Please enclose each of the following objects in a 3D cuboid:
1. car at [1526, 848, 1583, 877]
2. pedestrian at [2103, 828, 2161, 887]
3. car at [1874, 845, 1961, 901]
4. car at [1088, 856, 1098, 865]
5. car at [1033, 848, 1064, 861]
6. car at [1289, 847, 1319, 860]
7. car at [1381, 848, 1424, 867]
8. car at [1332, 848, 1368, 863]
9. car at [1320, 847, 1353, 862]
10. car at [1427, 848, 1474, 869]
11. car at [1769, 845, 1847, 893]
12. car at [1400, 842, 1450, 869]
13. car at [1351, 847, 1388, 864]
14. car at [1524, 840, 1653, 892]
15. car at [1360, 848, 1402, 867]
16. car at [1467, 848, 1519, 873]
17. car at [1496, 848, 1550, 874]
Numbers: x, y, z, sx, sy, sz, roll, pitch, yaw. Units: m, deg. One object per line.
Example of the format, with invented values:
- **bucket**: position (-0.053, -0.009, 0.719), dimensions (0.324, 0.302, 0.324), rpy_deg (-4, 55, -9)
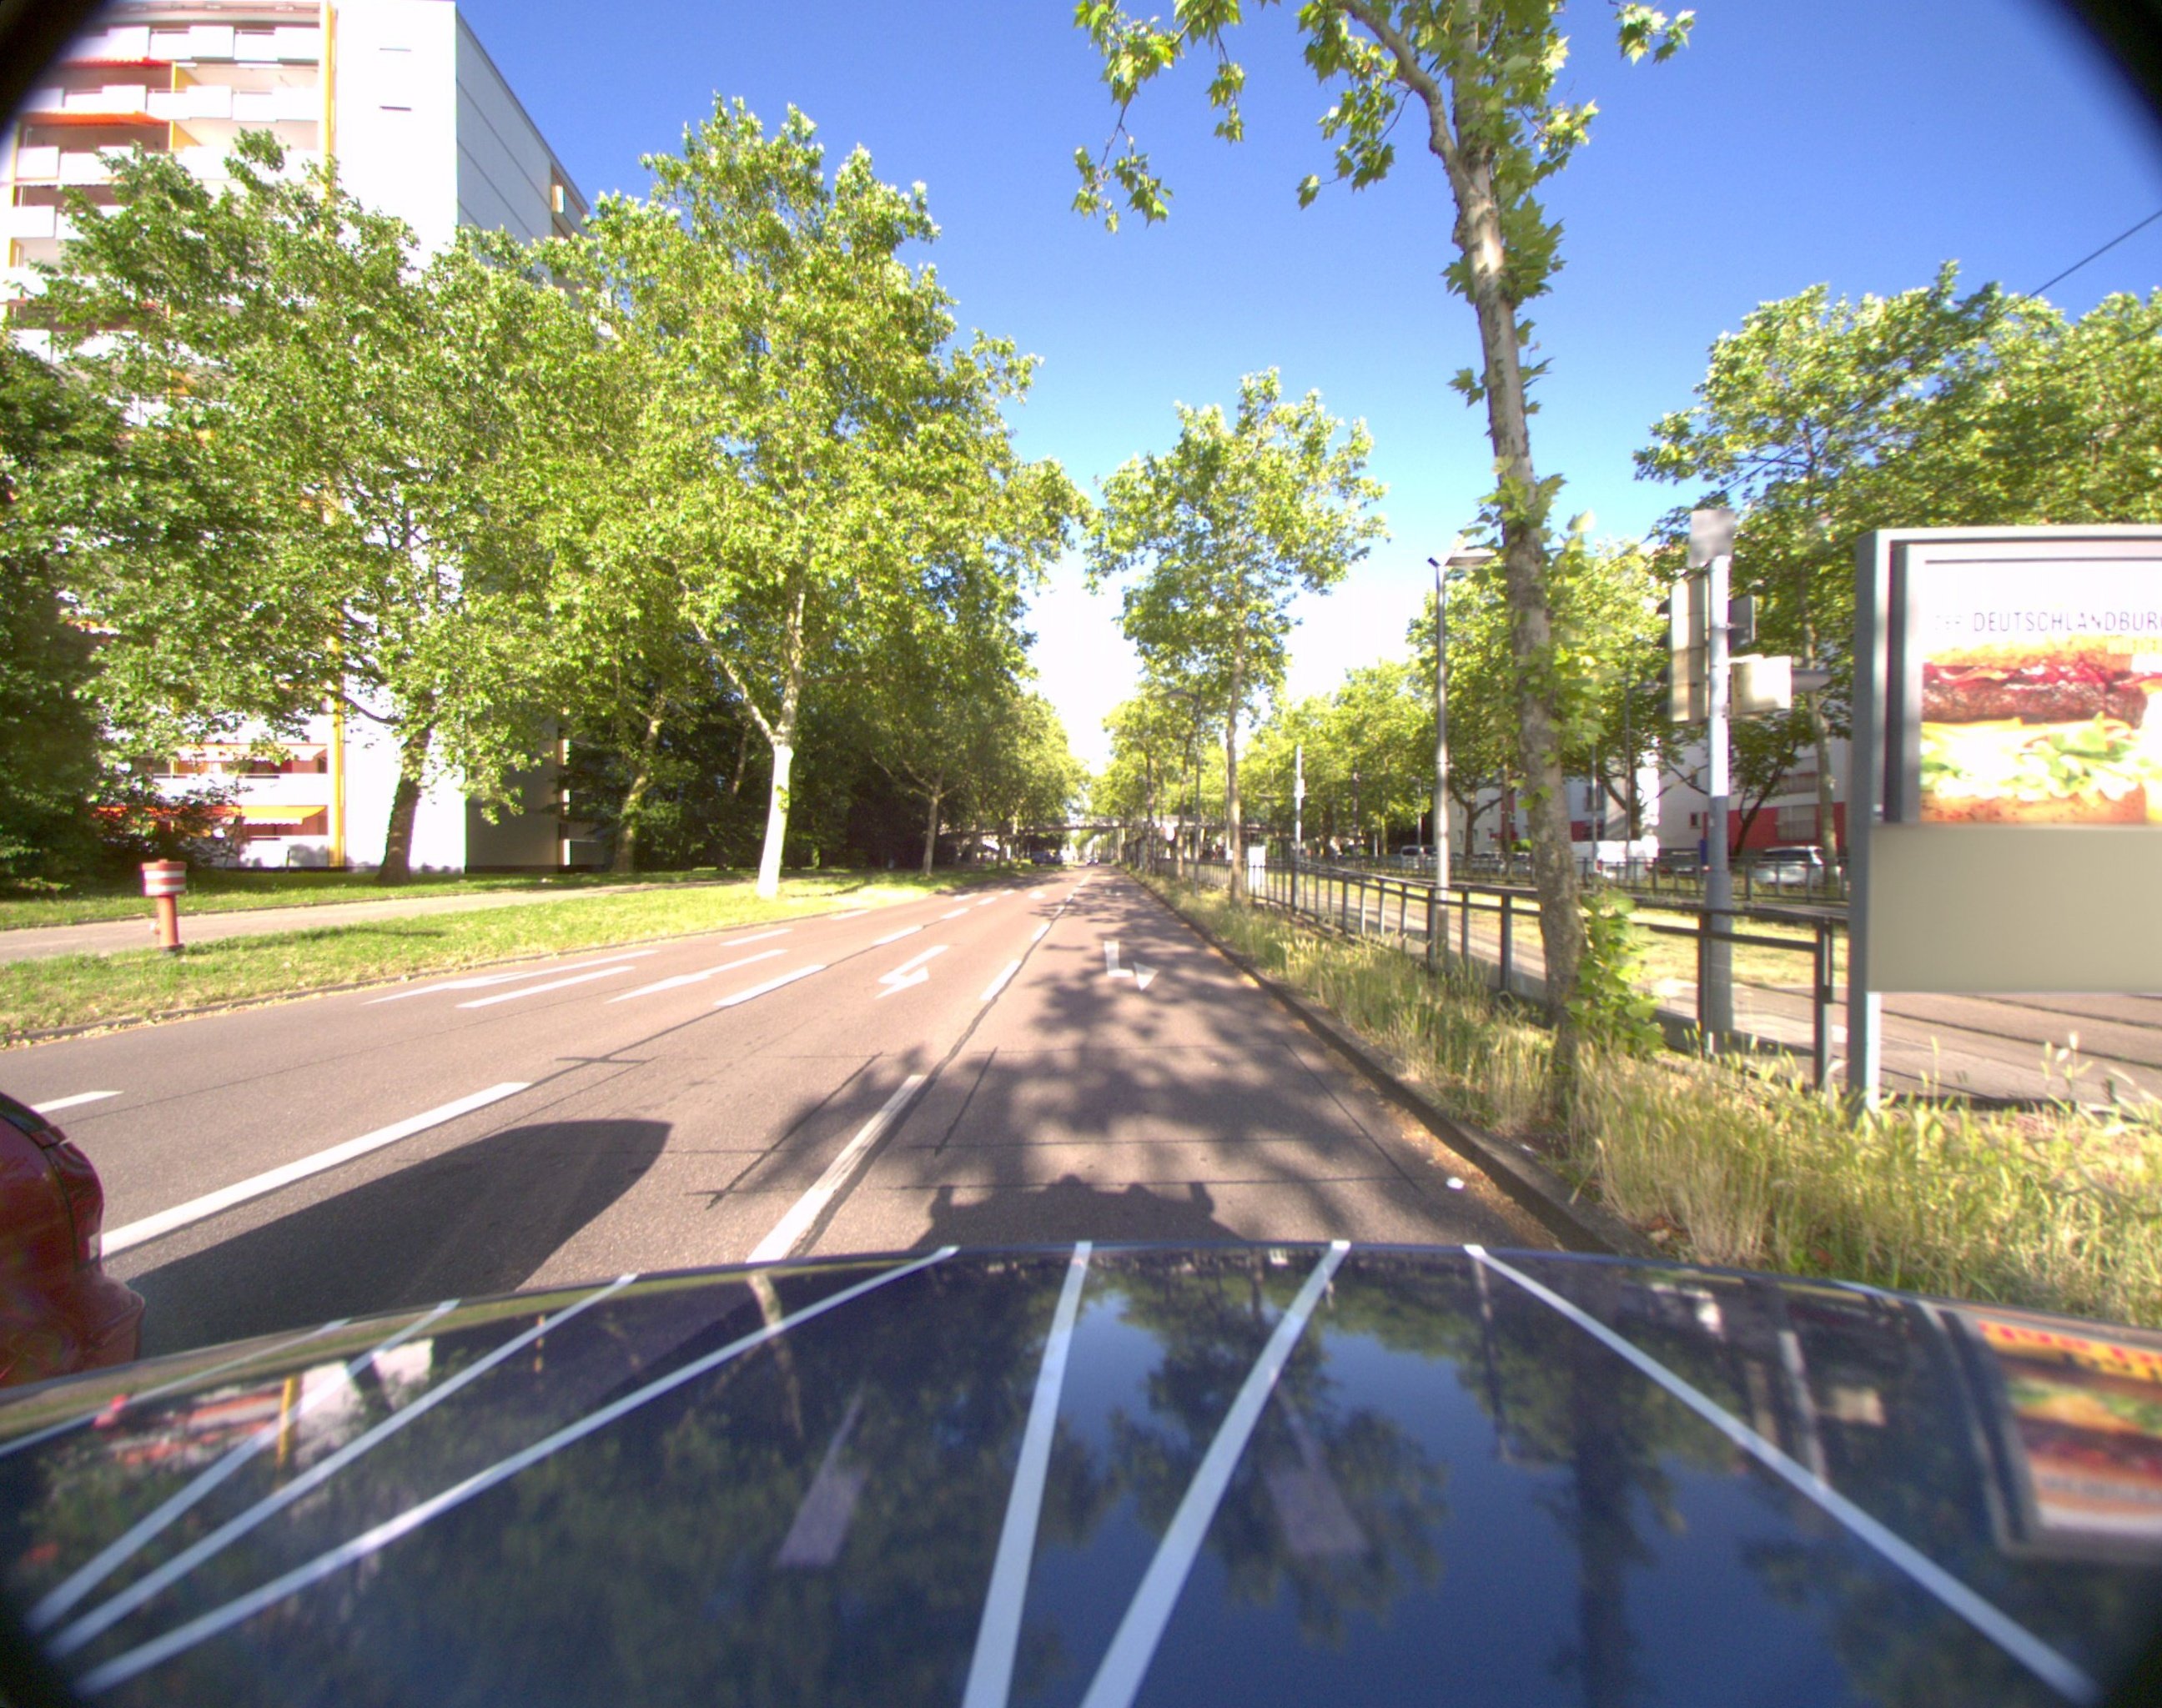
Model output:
- **car**: position (25.874, 0.448, 41.468), dimensions (3.811, 1.433, 1.652), rpy_deg (-2, 0, -42)
- **pedestrian**: position (31.433, 0.097, 22.698), dimensions (0.764, 1.723, 0.786), rpy_deg (-2, 1, -1)
- **car**: position (25.253, 0.528, 22.956), dimensions (3.811, 1.501, 1.652), rpy_deg (-2, 0, -42)
- **car**: position (1.851, 1.047, 119.076), dimensions (1.580, 1.395, 3.638), rpy_deg (-2, 0, 0)
- **car**: position (-5.036, 0.111, 119.105), dimensions (4.717, 1.924, 1.907), rpy_deg (-2, 0, -1)
- **car**: position (26.453, -0.041, 89.964), dimensions (3.811, 1.433, 1.652), rpy_deg (-2, 0, -42)
- **car**: position (25.742, 0.275, 60.742), dimensions (3.811, 1.433, 1.652), rpy_deg (-2, 0, -42)
- **car**: position (26.079, 0.140, 73.555), dimensions (3.811, 1.433, 1.652), rpy_deg (-2, 0, -42)
- **car**: position (26.800, 0.052, 79.615), dimensions (3.811, 1.433, 1.652), rpy_deg (-2, 0, -42)
- **car**: position (26.314, 0.315, 54.022), dimensions (3.811, 1.433, 1.652), rpy_deg (-2, 0, -42)
- **car**: position (25.367, 0.493, 26.465), dimensions (3.811, 1.501, 1.652), rpy_deg (-2, 0, -42)
- **car**: position (25.830, 0.095, 57.019), dimensions (4.330, 1.863, 1.836), rpy_deg (-2, 0, -42)
- **car**: position (26.632, 0.141, 70.123), dimensions (3.811, 1.433, 1.652), rpy_deg (-2, 0, -42)
- **car**: position (19.660, 0.436, 29.736), dimensions (1.831, 1.811, 4.903), rpy_deg (-2, 0, 1)
- **car**: position (24.956, 0.278, 63.199), dimensions (3.811, 1.433, 1.652), rpy_deg (-2, 0, -42)
- **car**: position (25.862, 0.402, 47.668), dimensions (3.811, 1.433, 1.652), rpy_deg (-2, 0, -42)
- **car**: position (26.109, 0.411, 44.854), dimensions (3.811, 1.433, 1.652), rpy_deg (-2, 0, -42)
